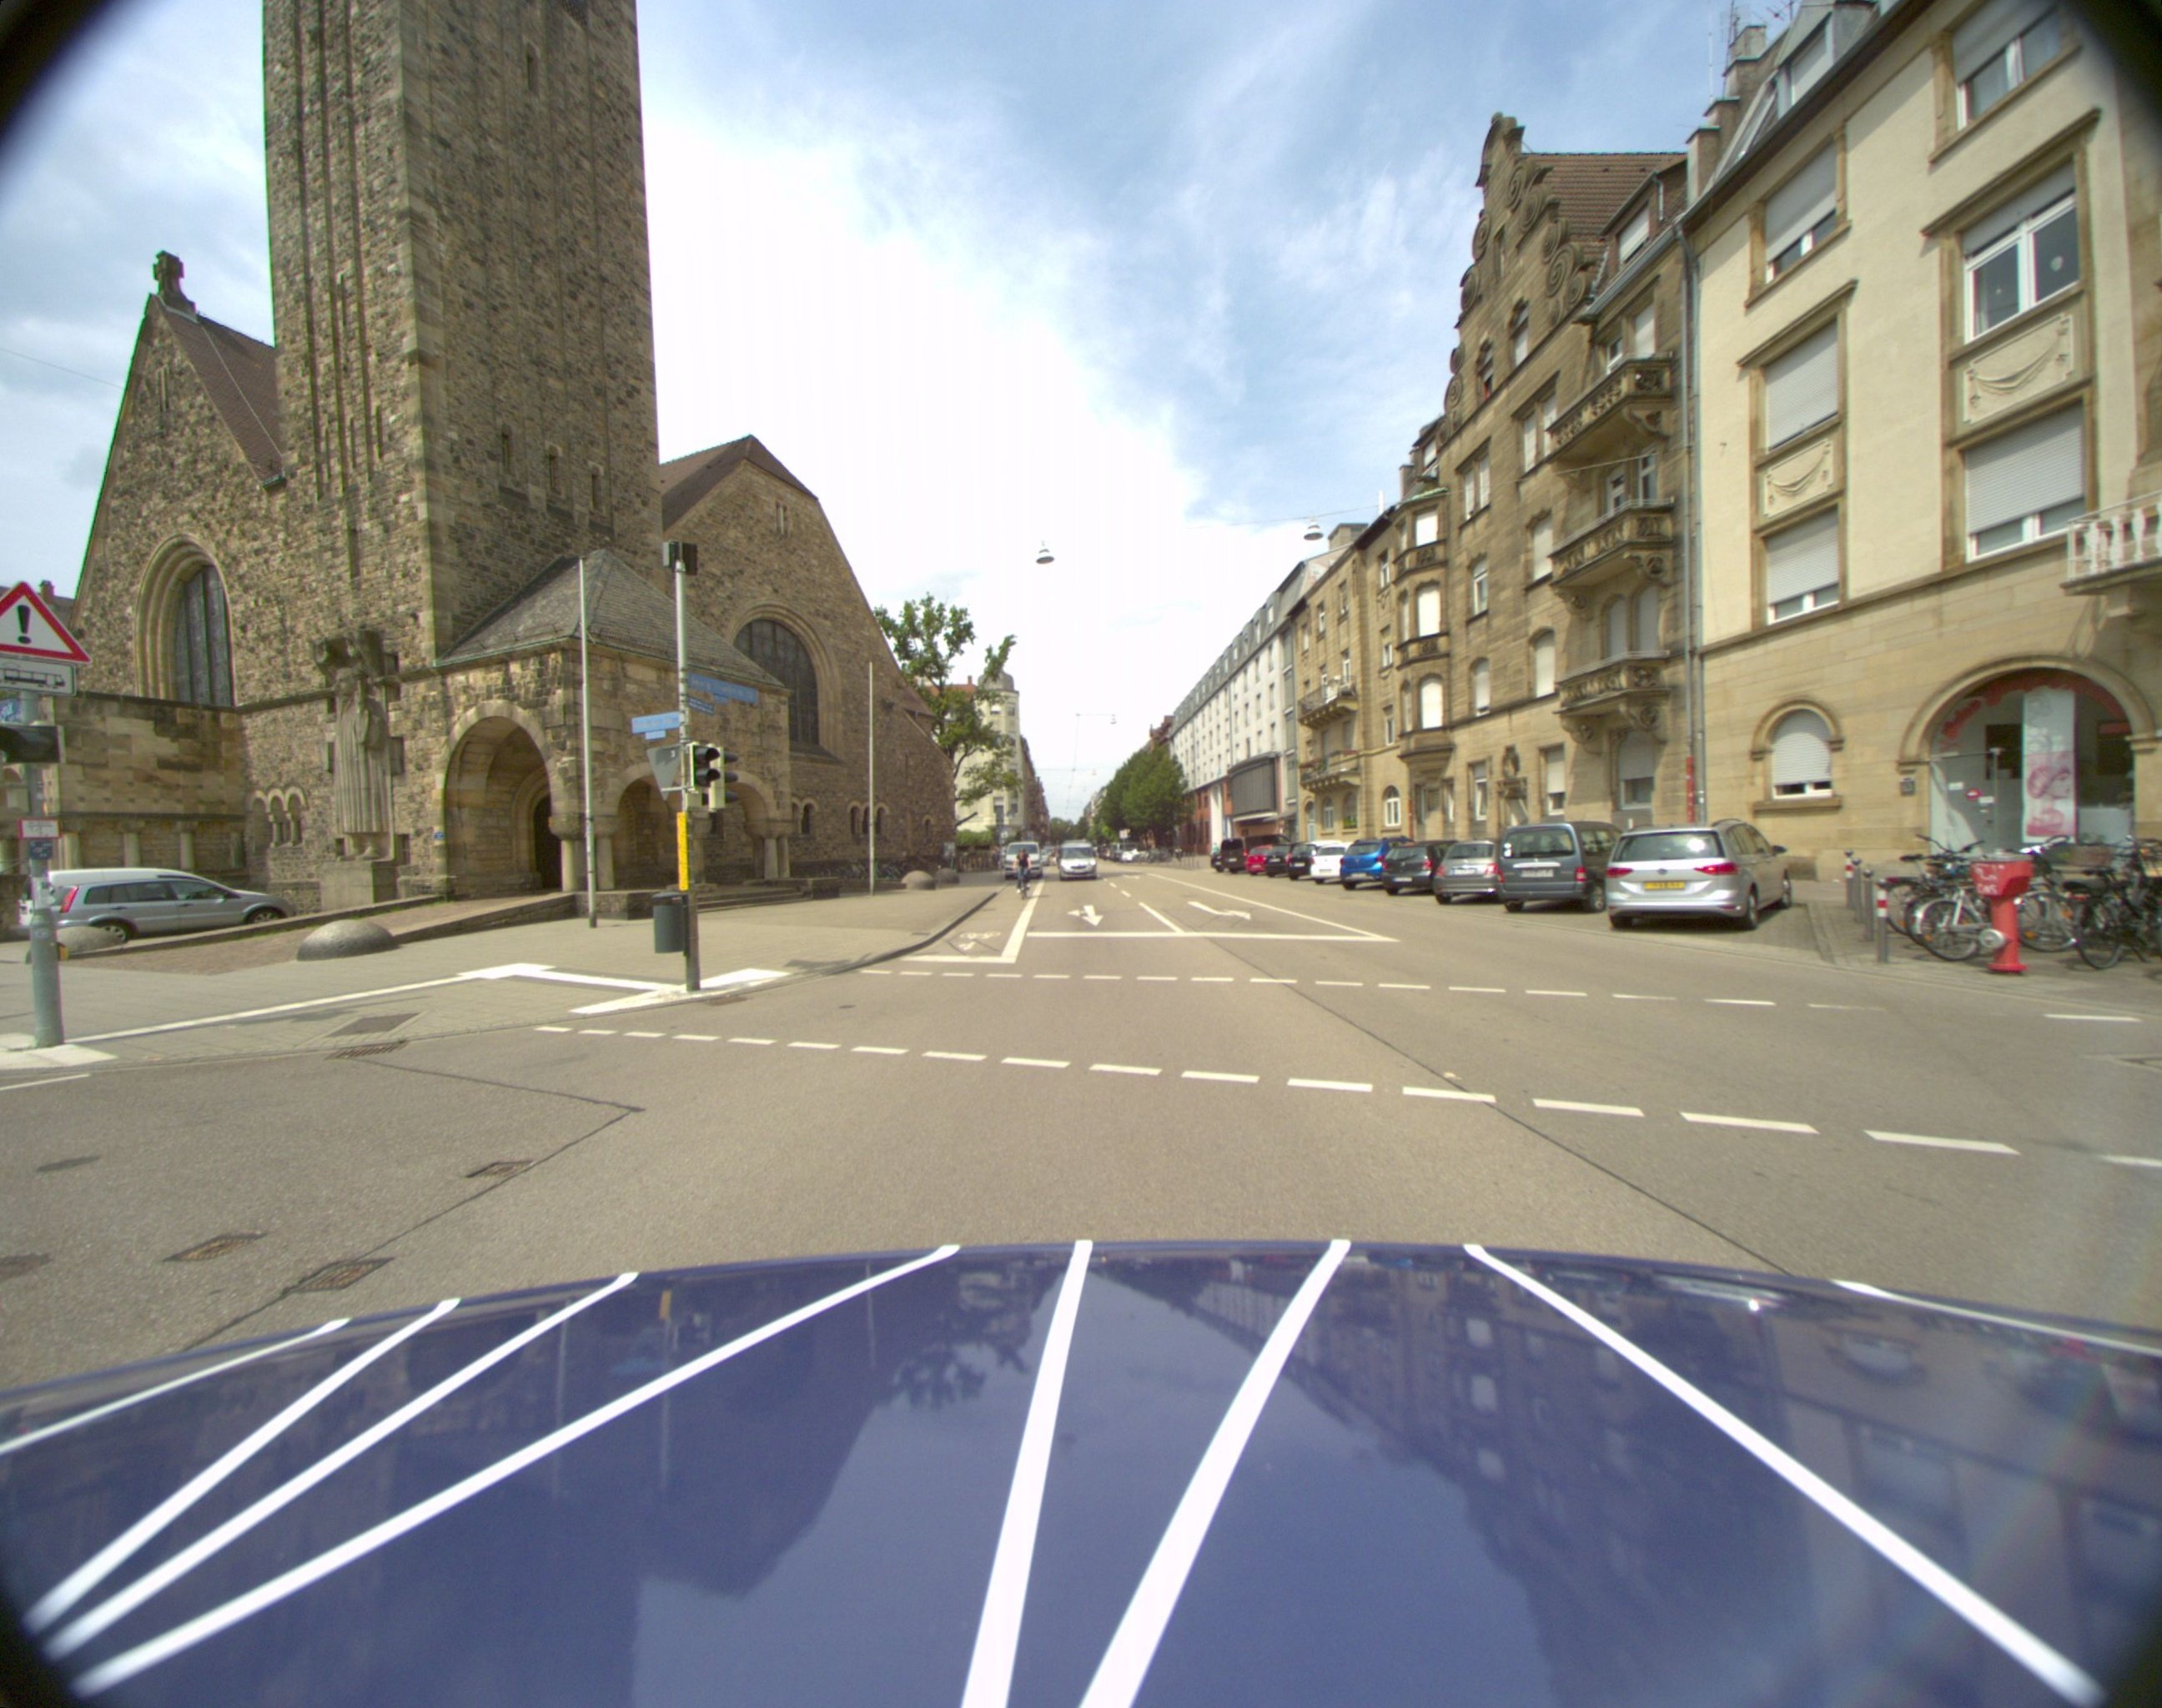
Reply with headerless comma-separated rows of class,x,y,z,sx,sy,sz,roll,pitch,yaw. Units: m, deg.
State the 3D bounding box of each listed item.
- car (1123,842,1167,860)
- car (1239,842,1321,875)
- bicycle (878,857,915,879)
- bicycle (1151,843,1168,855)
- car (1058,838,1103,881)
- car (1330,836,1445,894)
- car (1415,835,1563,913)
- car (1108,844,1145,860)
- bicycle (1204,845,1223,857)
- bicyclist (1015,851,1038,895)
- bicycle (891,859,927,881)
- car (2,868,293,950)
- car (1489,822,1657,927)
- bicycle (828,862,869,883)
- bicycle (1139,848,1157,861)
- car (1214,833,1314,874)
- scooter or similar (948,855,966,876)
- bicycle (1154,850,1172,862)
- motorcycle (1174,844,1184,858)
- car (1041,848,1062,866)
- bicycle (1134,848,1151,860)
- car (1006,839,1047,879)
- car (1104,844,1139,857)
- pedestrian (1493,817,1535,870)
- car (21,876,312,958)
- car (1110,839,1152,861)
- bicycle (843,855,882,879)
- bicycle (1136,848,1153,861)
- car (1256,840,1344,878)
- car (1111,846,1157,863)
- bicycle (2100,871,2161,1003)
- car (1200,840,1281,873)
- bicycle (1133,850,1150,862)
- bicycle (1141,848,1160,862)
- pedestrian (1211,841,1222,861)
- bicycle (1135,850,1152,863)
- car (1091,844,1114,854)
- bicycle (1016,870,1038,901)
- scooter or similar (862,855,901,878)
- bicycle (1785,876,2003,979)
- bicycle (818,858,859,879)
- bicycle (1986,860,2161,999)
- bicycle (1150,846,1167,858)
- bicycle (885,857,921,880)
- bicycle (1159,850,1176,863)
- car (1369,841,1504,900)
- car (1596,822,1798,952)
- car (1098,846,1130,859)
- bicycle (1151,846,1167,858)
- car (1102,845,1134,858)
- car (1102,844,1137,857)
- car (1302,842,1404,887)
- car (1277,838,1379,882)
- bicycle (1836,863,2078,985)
car,6.062,-0.327,71.976,4.012,1.536,1.598,-3,1,-35
car,9.650,0.205,36.683,4.019,1.401,1.792,-3,1,-40
bicycle,-9.447,0.726,38.810,1.779,1.105,0.546,-1,1,18
bicycle,6.933,-0.425,67.194,1.409,1.020,0.401,-3,1,1
car,0.030,0.256,37.340,1.942,1.913,4.006,-3,0,3
car,9.912,0.310,24.496,3.785,1.642,1.720,-3,1,-37
car,10.044,0.409,18.603,4.019,1.642,1.792,-3,1,-40
car,5.148,-0.256,85.820,4.012,1.605,1.708,-3,0,-35
bicycle,12.533,-0.310,71.916,1.614,0.921,0.932,-8,0,11
bicyclist,-1.815,0.605,25.295,0.649,1.409,1.094,-2,1,0
bicycle,-9.046,0.822,40.018,1.779,1.105,0.546,-1,1,18
car,-24.337,1.341,20.075,1.947,1.716,4.428,-1,1,24
car,10.285,0.337,15.783,4.019,1.868,1.792,-3,1,-40
bicycle,-10.925,0.862,35.691,1.779,0.952,0.546,-1,1,18
bicycle,5.678,0.046,64.225,1.409,1.032,0.401,-5,1,1
car,9.659,-0.063,39.866,5.280,1.899,2.116,-3,1,-35
scooter or similar,-7.300,0.684,44.788,0.545,1.200,1.443,-1,1,12
bicycle,7.013,0.171,64.883,1.409,1.020,0.401,-3,1,1
motorcycle,8.305,-0.251,64.268,0.585,1.166,1.779,-4,1,1
car,-2.582,0.215,66.887,1.760,1.460,4.417,-2,0,-2
bicycle,5.477,-0.012,68.137,1.409,1.020,0.401,-5,1,1
car,-2.864,0.232,41.006,2.020,2.017,5.121,-1,1,-2
car,4.924,-0.453,91.330,4.012,1.381,1.592,-3,0,-35
pedestrian,13.440,-0.323,23.595,0.793,1.586,0.678,-5,1,-1
car,-21.834,1.428,18.371,2.014,1.534,4.033,-1,1,24
car,5.313,-0.439,80.249,4.011,1.987,1.857,-4,2,-32
bicycle,-10.512,0.620,36.549,1.779,1.105,0.546,-1,1,18
bicycle,5.516,0.048,66.224,1.409,1.032,0.401,-5,1,1
car,9.838,0.208,33.964,4.003,1.494,1.627,-3,1,-36
car,5.195,0.067,74.300,4.324,1.461,1.713,-3,1,-35
bicycle,10.486,0.705,6.952,1.815,1.114,0.593,-4,2,-9
car,9.021,0.142,42.729,4.679,1.401,1.895,-6,1,-40
bicycle,5.479,0.176,68.949,1.409,1.020,0.401,-5,1,1
bicycle,5.790,0.087,63.334,1.409,1.032,0.401,-5,1,1
pedestrian,10.536,-0.234,59.134,0.662,1.477,0.508,-2,1,-13
bicycle,5.513,0.235,66.869,1.409,1.020,0.401,-5,1,1
car,3.967,-0.989,141.872,4.012,1.746,1.687,-3,0,-35
bicycle,-1.804,1.037,25.402,0.586,0.927,1.783,-3,0,0
scooter or similar,-9.899,0.618,37.694,1.779,1.133,0.546,-1,1,18
bicycle,9.538,0.849,8.960,1.813,1.114,0.594,-2,1,5
bicycle,-11.186,0.654,35.059,1.778,0.952,0.546,0,2,18
bicycle,10.144,0.714,7.558,1.815,1.160,0.593,-4,2,-9
bicycle,6.972,-0.162,68.485,1.409,1.020,0.401,-3,1,1
bicycle,-9.235,0.752,39.393,1.771,1.105,0.546,-1,1,18
bicycle,7.249,0.191,63.645,1.409,1.020,0.401,-3,1,1
car,10.150,0.429,21.597,3.910,1.435,1.832,-3,1,-37
car,10.121,0.413,12.390,4.019,1.763,1.792,-3,1,-40
car,4.550,-0.255,104.329,4.012,1.559,1.687,-3,0,-35
bicycle,6.965,-0.159,67.894,1.409,1.020,0.401,-3,1,1
car,4.939,-0.273,101.843,4.012,1.559,1.687,-3,0,-35
car,4.762,-0.450,93.539,4.012,1.445,1.687,-3,0,-35
car,10.018,0.348,27.887,3.692,1.473,1.737,-3,1,-37
car,10.091,0.214,30.953,4.018,1.555,1.792,-3,1,-33
bicycle,9.496,0.741,8.285,1.813,1.114,0.594,-5,1,3
